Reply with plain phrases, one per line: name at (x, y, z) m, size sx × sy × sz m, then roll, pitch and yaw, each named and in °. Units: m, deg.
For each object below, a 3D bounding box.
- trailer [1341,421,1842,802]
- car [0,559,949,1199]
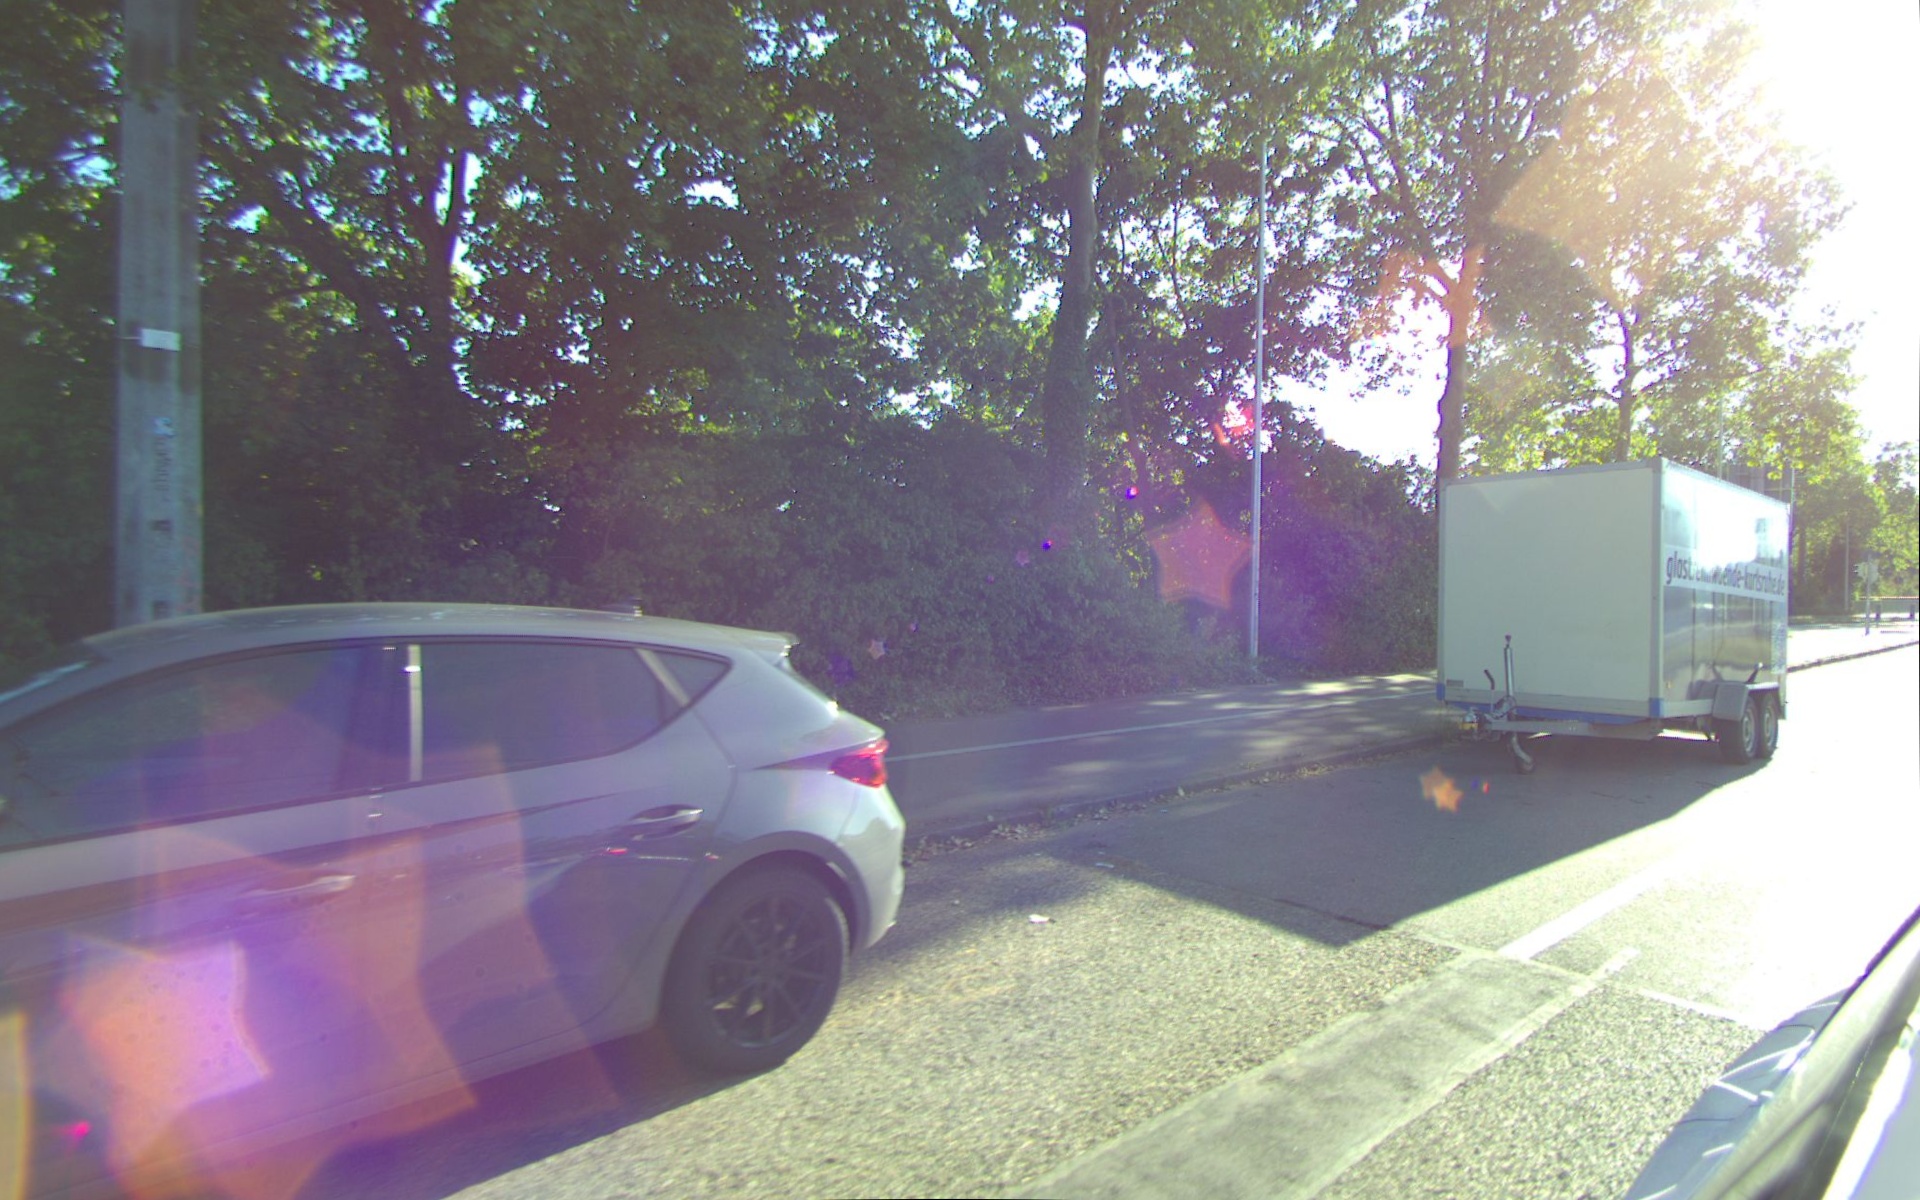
trailer at (6.408, 0.057, 9.928) m, size 5.837 × 2.728 × 2.257 m, roll 0°, pitch 1°, yaw -37°
car at (-2.159, 0.659, 2.888) m, size 4.094 × 1.475 × 1.811 m, roll 0°, pitch 0°, yaw -42°
